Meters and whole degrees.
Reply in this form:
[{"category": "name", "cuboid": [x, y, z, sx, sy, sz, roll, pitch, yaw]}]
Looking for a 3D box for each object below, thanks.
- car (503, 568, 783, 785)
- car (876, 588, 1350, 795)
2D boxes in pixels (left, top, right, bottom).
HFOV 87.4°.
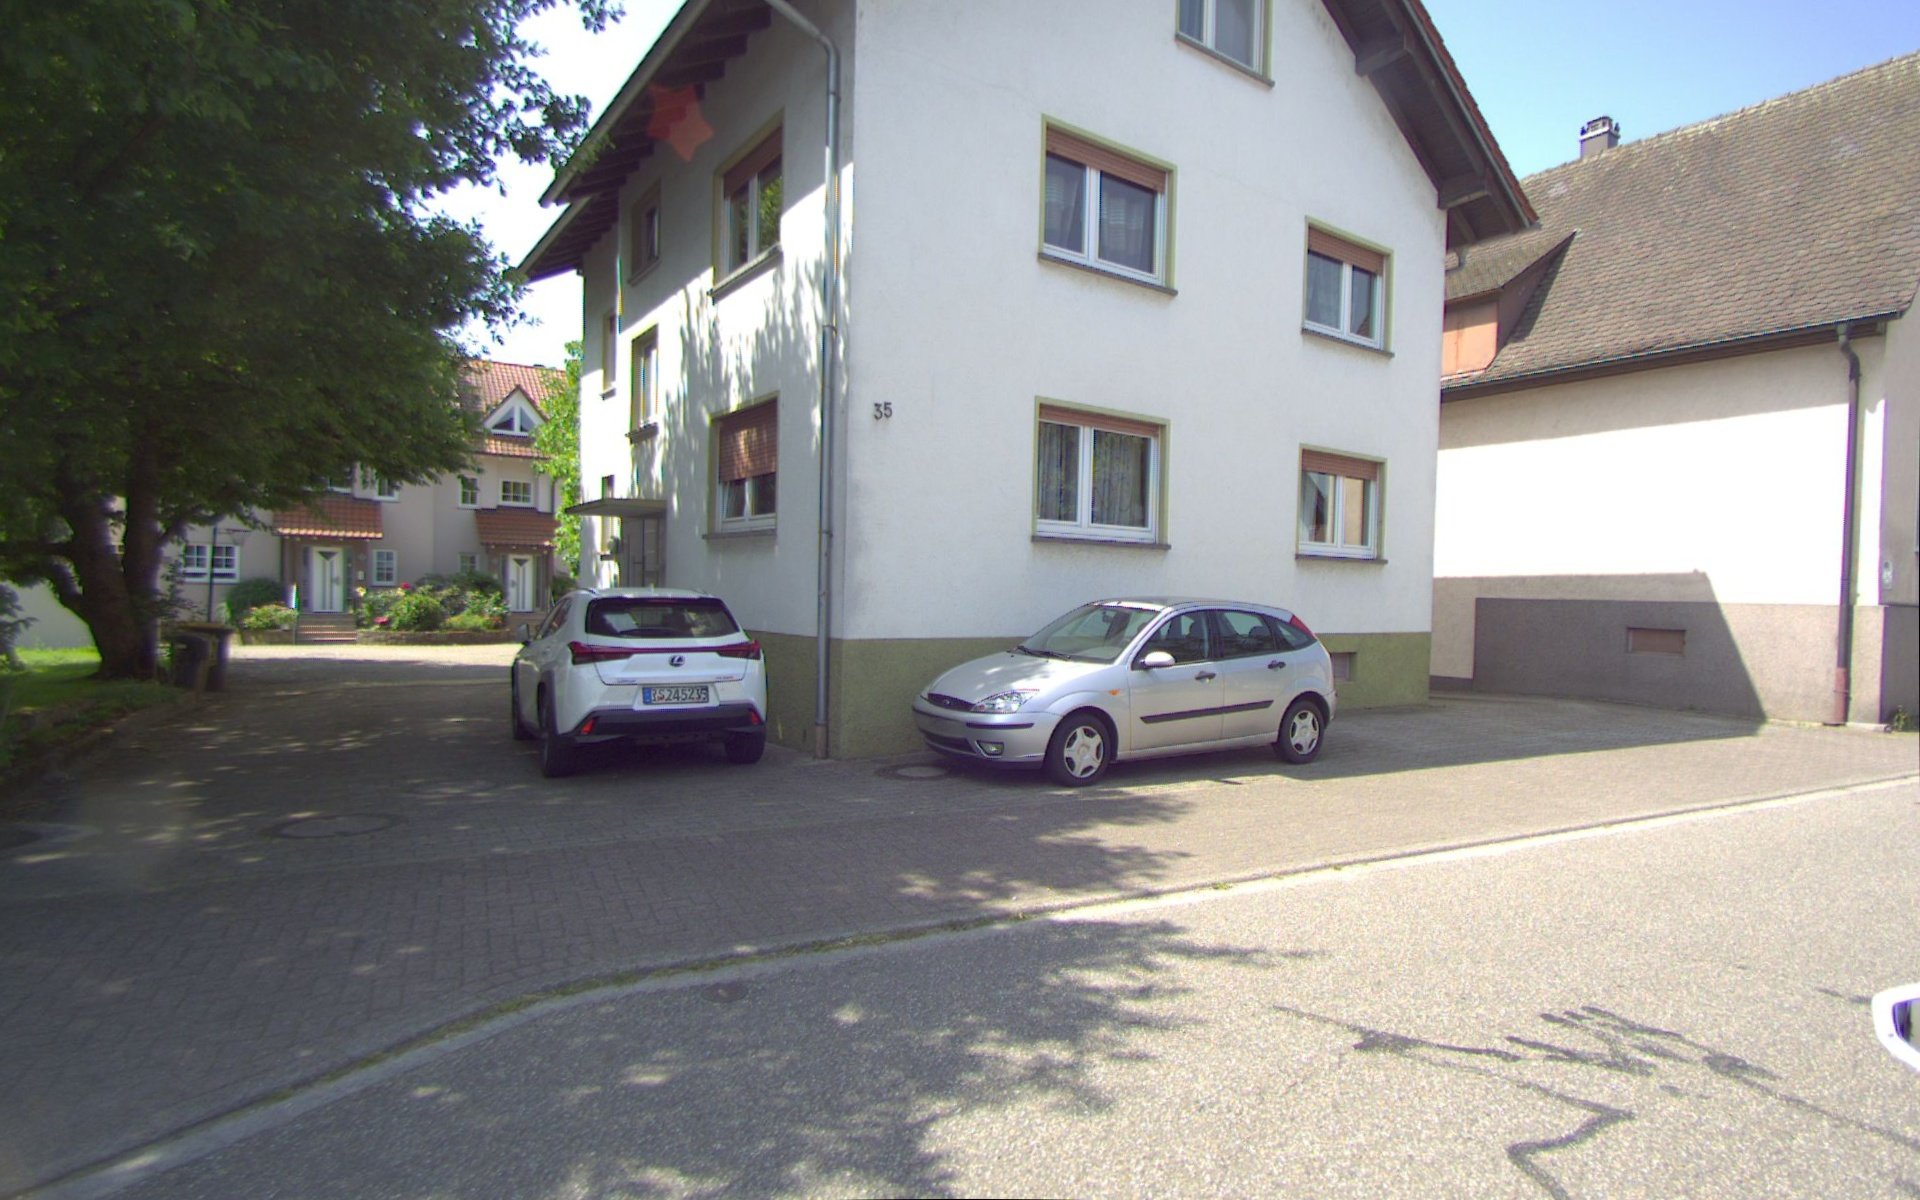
[{"category": "car", "cuboid": [-3.171, 0.580, 9.443, 1.752, 1.559, 4.142, 0, -1, -29]}, {"category": "car", "cuboid": [1.435, 0.665, 9.009, 4.009, 1.454, 1.769, 0, 1, -31]}]
